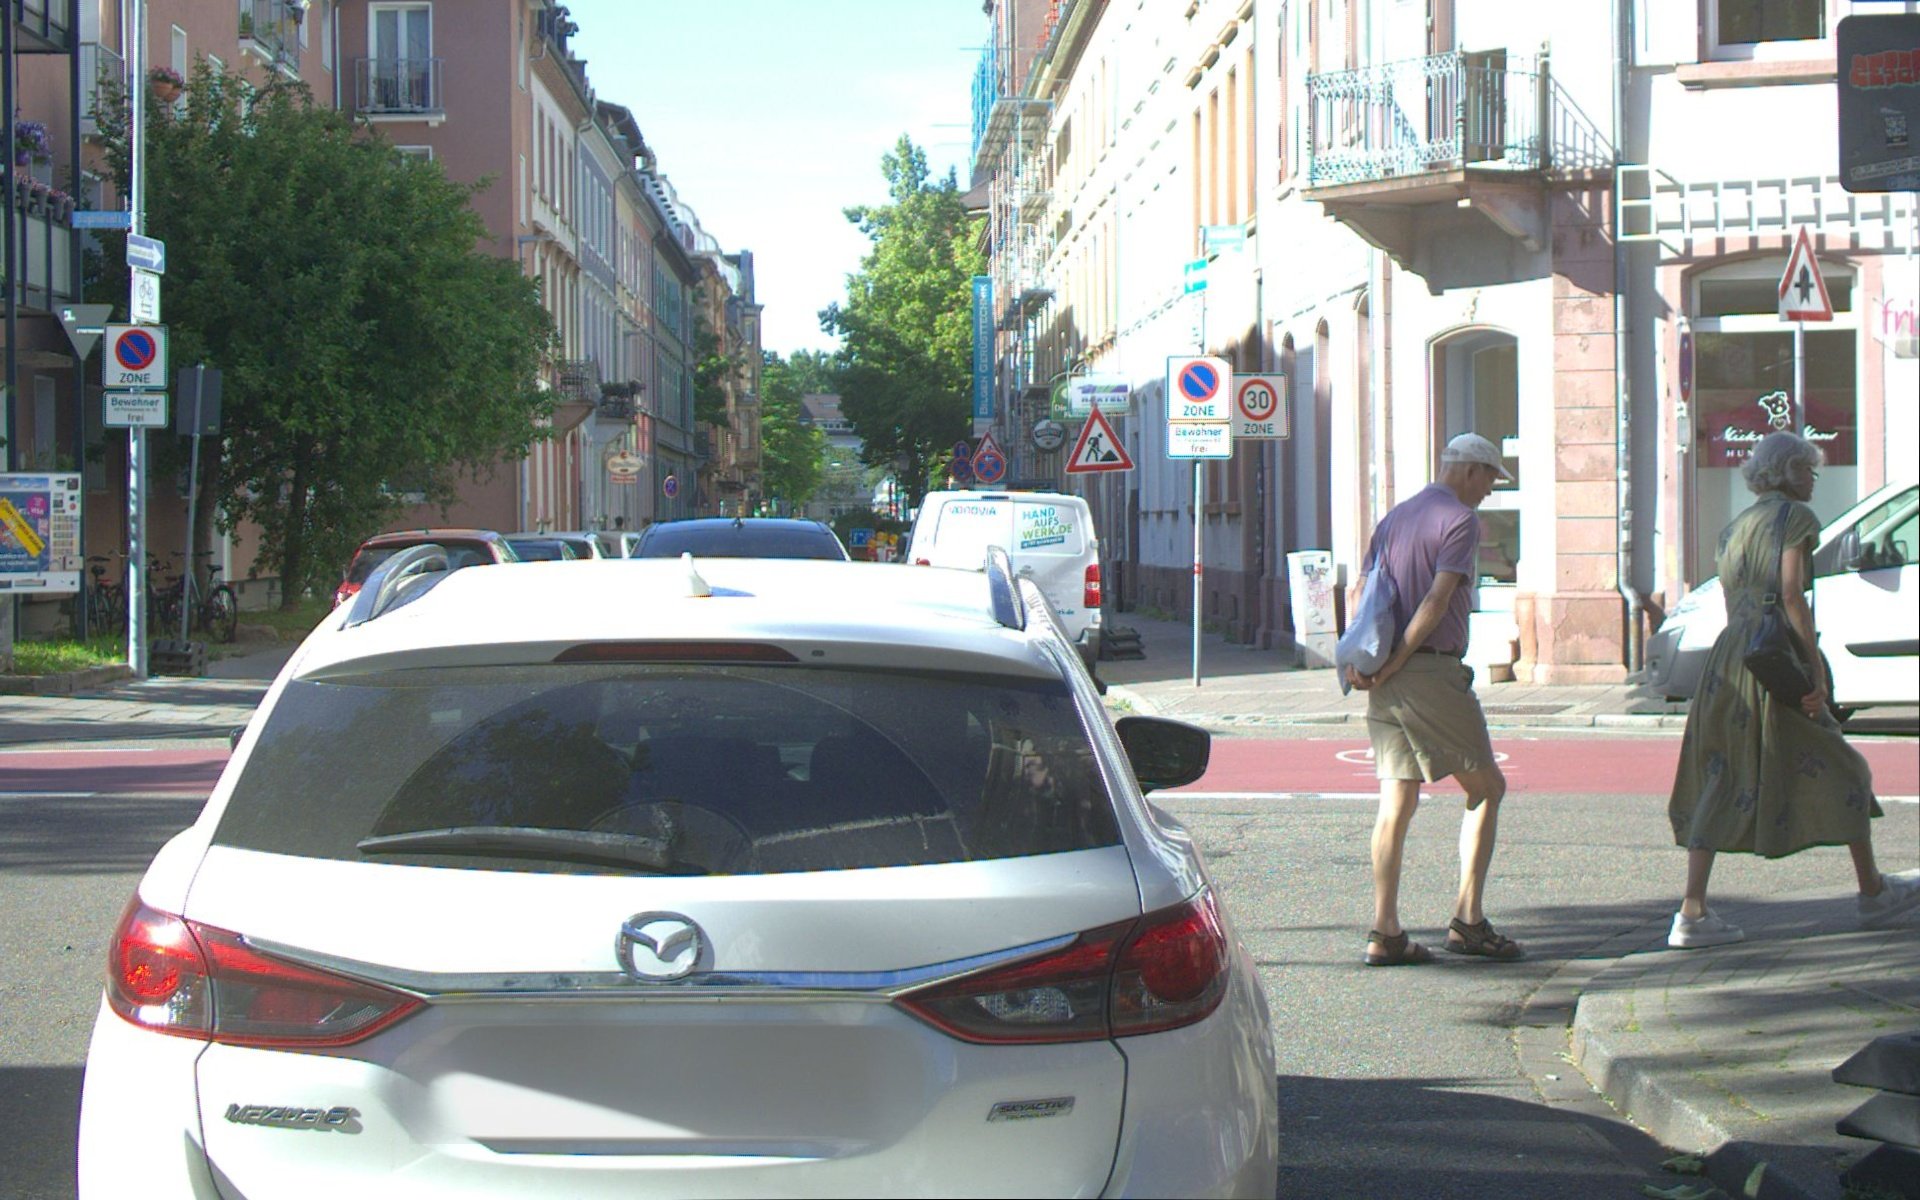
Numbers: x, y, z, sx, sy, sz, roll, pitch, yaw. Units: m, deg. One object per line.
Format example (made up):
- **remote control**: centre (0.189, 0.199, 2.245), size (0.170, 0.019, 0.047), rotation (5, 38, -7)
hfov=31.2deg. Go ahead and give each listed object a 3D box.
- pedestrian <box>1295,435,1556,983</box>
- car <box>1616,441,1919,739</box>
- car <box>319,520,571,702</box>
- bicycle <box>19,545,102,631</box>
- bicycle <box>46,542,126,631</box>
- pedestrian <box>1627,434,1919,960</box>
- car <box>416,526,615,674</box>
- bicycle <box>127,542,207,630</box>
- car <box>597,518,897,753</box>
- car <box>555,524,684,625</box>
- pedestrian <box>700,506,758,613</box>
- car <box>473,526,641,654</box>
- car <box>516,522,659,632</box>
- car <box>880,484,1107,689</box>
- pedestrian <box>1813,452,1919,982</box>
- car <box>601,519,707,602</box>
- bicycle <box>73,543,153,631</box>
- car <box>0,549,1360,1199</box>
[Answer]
- **pedestrian**: centre (1.536, 0.343, 11.452), size (0.749, 1.758, 0.831), rotation (0, 1, -1)
- **car**: centre (7.098, -0.084, 23.059), size (5.015, 1.939, 2.049), rotation (0, 1, 22)
- **car**: centre (-4.552, 0.049, 30.854), size (1.685, 1.495, 3.807), rotation (-2, 1, -1)
- **bicycle**: centre (-10.940, -0.151, 41.799), size (1.215, 1.032, 0.290), rotation (1, 2, 38)
- **bicycle**: centre (-10.698, -0.172, 42.067), size (1.215, 1.068, 0.265), rotation (1, 2, 38)
- **pedestrian**: centre (2.796, 0.325, 11.582), size (0.836, 1.661, 0.626), rotation (-4, -2, 0)
- **car**: centre (-4.719, -0.045, 36.962), size (1.653, 1.495, 4.080), rotation (0, 1, -1)
- **bicycle**: centre (-9.848, -0.181, 42.661), size (1.218, 1.068, 0.253), rotation (1, 2, 38)
- **car**: centre (-1.314, 0.164, 22.799), size (1.760, 1.405, 4.328), rotation (0, 1, -1)
- **car**: centre (-5.234, -0.418, 53.200), size (1.653, 1.495, 3.763), rotation (0, 1, -1)
- **pedestrian**: centre (-3.531, -0.628, 52.455), size (0.733, 1.608, 0.816), rotation (-1, 1, -13)
- **car**: centre (-4.887, -0.159, 42.084), size (1.653, 1.495, 3.763), rotation (0, 1, -1)
- **car**: centre (-5.257, -0.358, 48.875), size (1.653, 1.495, 3.763), rotation (0, 1, -1)
- **car**: centre (0.259, -0.182, 34.666), size (1.894, 1.853, 5.015), rotation (2, 1, -3)
- **pedestrian**: centre (3.196, 0.312, 10.456), size (0.844, 1.568, 0.846), rotation (-6, 0, 0)
- **car**: centre (-5.616, -0.751, 63.505), size (1.653, 1.495, 3.763), rotation (0, 1, -1)
- **bicycle**: centre (-10.434, -0.166, 42.324), size (1.215, 1.067, 0.253), rotation (1, 2, 38)
- **car**: centre (-0.433, 0.653, 6.338), size (1.831, 1.452, 3.962), rotation (0, 1, -1)
